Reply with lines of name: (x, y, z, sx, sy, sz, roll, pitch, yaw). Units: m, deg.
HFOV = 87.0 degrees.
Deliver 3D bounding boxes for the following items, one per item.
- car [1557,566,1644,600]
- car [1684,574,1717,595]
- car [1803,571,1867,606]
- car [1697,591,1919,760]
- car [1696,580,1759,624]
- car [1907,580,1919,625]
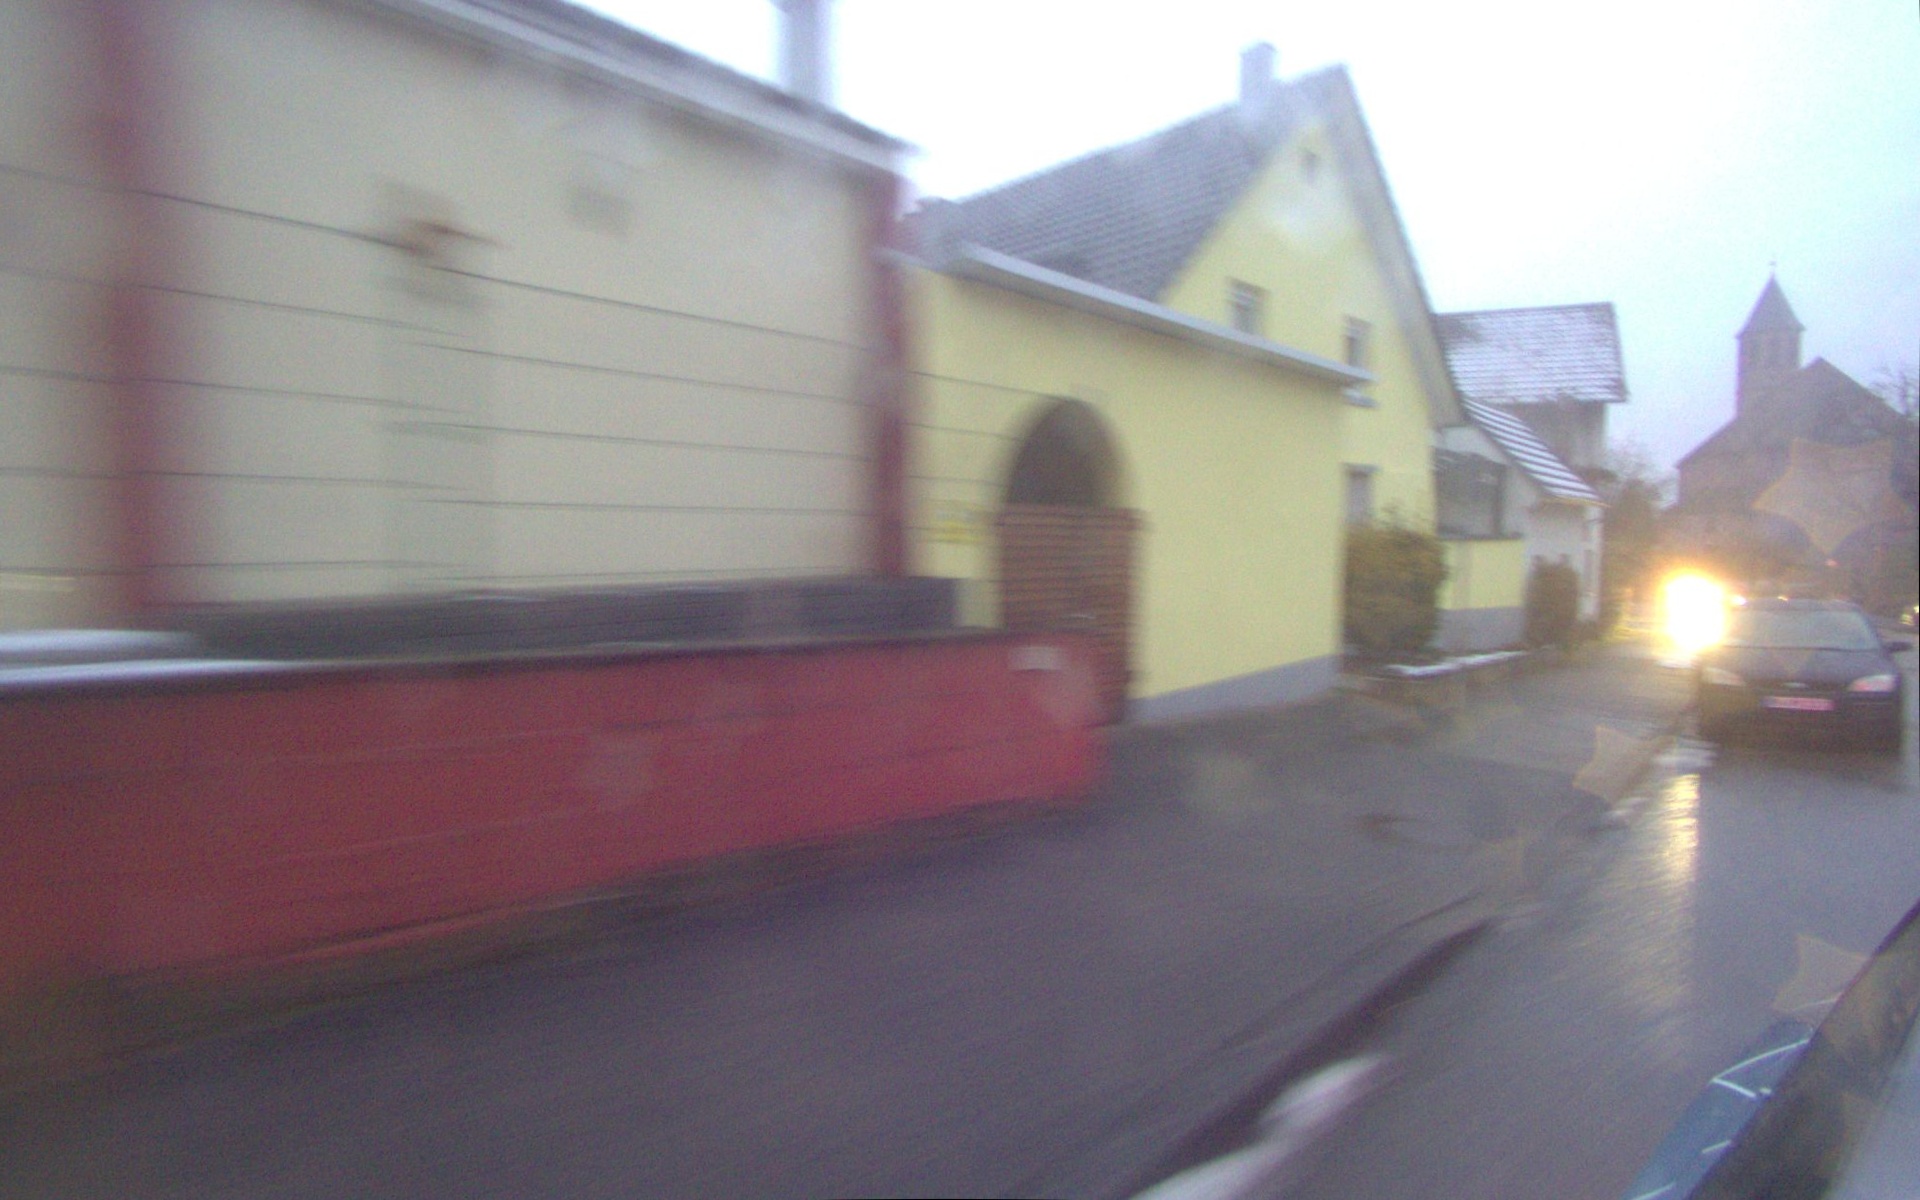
car: (36.066, -0.985, 57.132, 3.962, 1.816, 1.981, 1, 2, 28)
car: (54.823, -1.168, 74.894, 1.757, 1.516, 3.945, 0, 1, 39)
car: (44.290, -0.626, 51.310, 1.987, 1.649, 3.951, 1, 2, 35)
car: (9.685, 0.670, 11.670, 1.723, 1.449, 4.732, 1, 2, 38)
car: (37.455, 0.043, 49.490, 1.984, 2.038, 3.957, 1, 2, 31)
car: (36.474, 0.127, 35.429, 4.444, 1.598, 1.979, 1, 2, 30)
